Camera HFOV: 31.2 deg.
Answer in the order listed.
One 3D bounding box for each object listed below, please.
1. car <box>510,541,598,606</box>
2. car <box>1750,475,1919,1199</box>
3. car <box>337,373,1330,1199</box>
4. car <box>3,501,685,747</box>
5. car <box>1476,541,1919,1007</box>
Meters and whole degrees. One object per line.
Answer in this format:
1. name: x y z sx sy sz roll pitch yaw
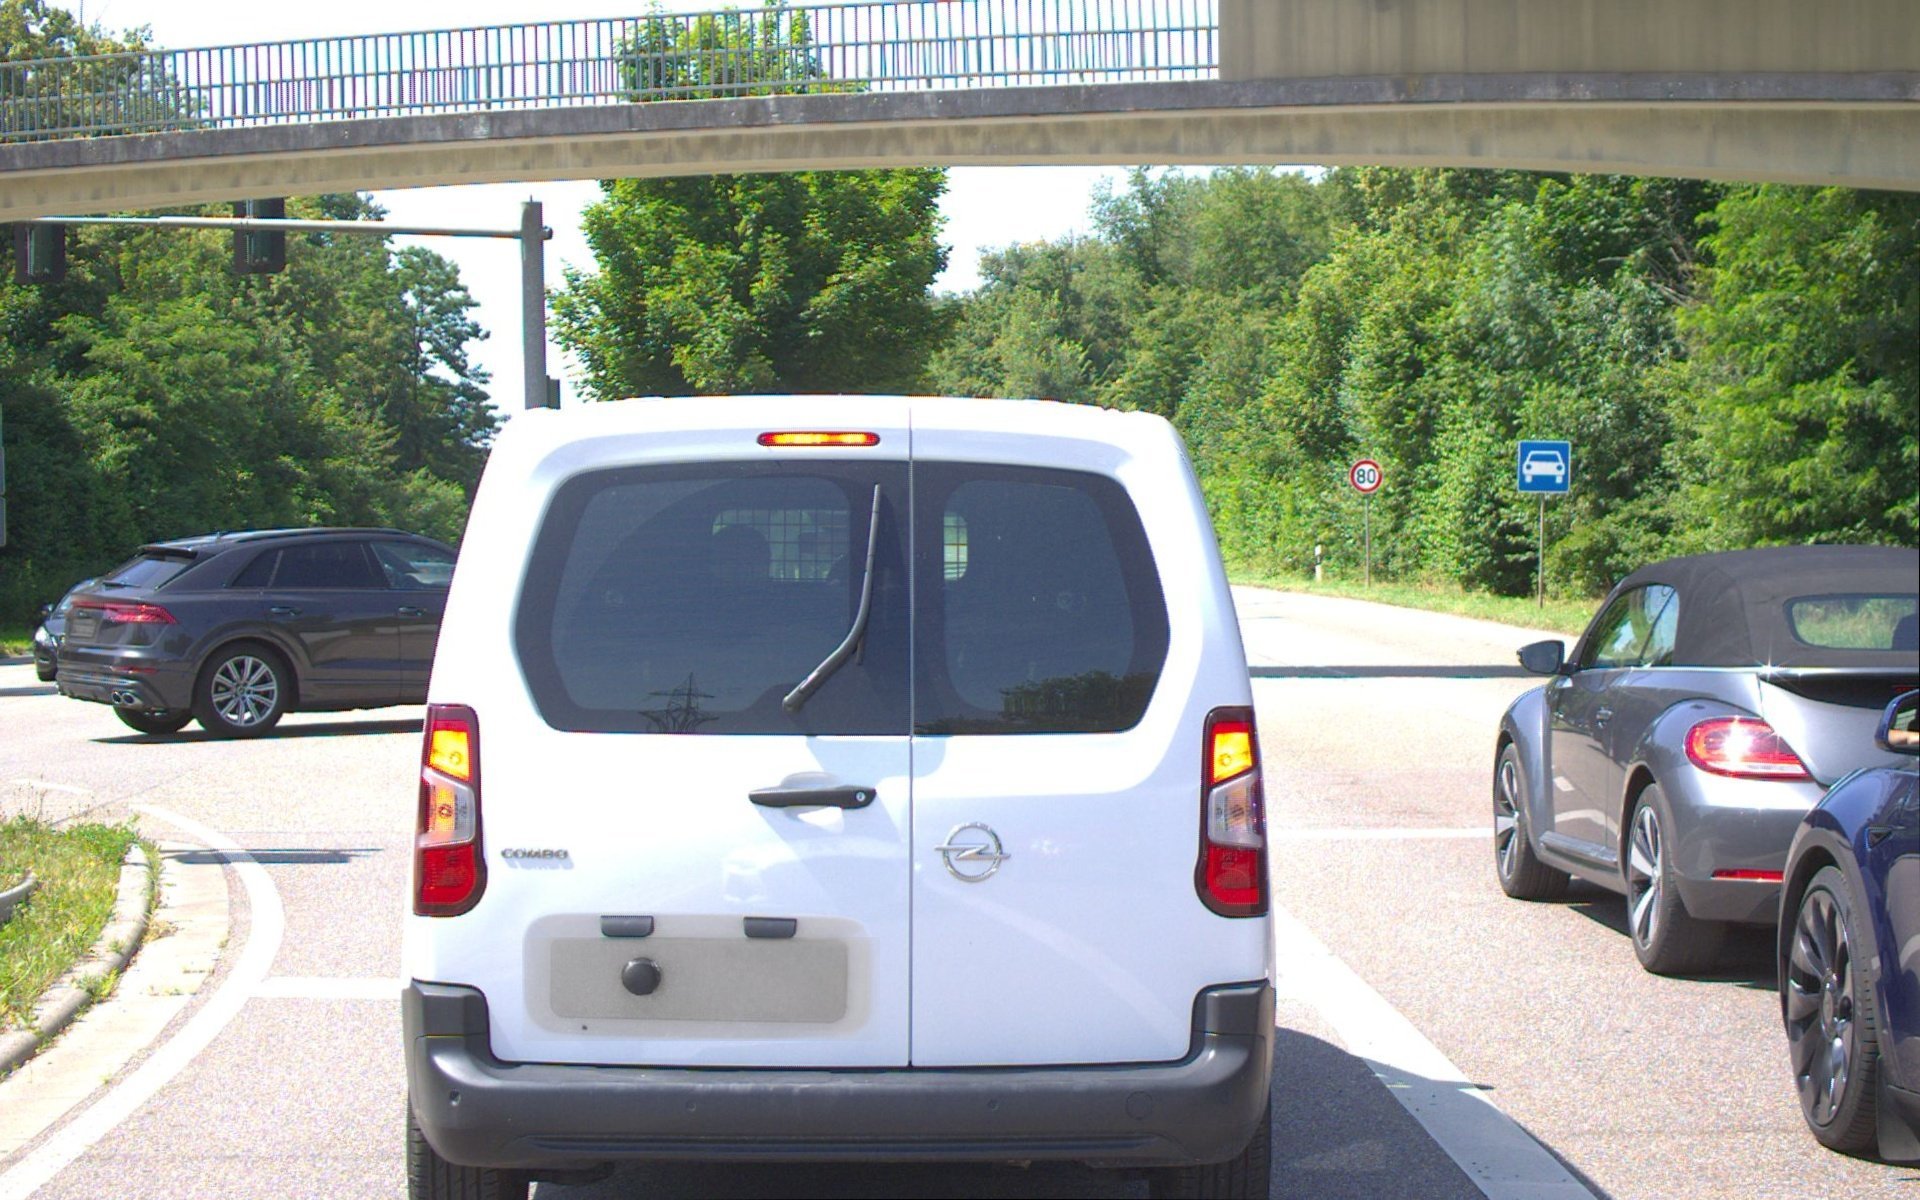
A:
1. car: -13.220 -0.882 112.152 2.208 1.986 5.489 -2 1 -1
2. car: 3.065 0.571 6.787 1.900 1.639 4.520 1 1 -1
3. car: -0.292 0.435 8.448 1.849 1.819 3.982 1 2 -2
4. car: -5.021 0.157 28.335 5.070 1.693 2.048 -3 1 -34
5. car: 3.229 0.531 12.990 1.900 1.472 3.939 1 1 -1
